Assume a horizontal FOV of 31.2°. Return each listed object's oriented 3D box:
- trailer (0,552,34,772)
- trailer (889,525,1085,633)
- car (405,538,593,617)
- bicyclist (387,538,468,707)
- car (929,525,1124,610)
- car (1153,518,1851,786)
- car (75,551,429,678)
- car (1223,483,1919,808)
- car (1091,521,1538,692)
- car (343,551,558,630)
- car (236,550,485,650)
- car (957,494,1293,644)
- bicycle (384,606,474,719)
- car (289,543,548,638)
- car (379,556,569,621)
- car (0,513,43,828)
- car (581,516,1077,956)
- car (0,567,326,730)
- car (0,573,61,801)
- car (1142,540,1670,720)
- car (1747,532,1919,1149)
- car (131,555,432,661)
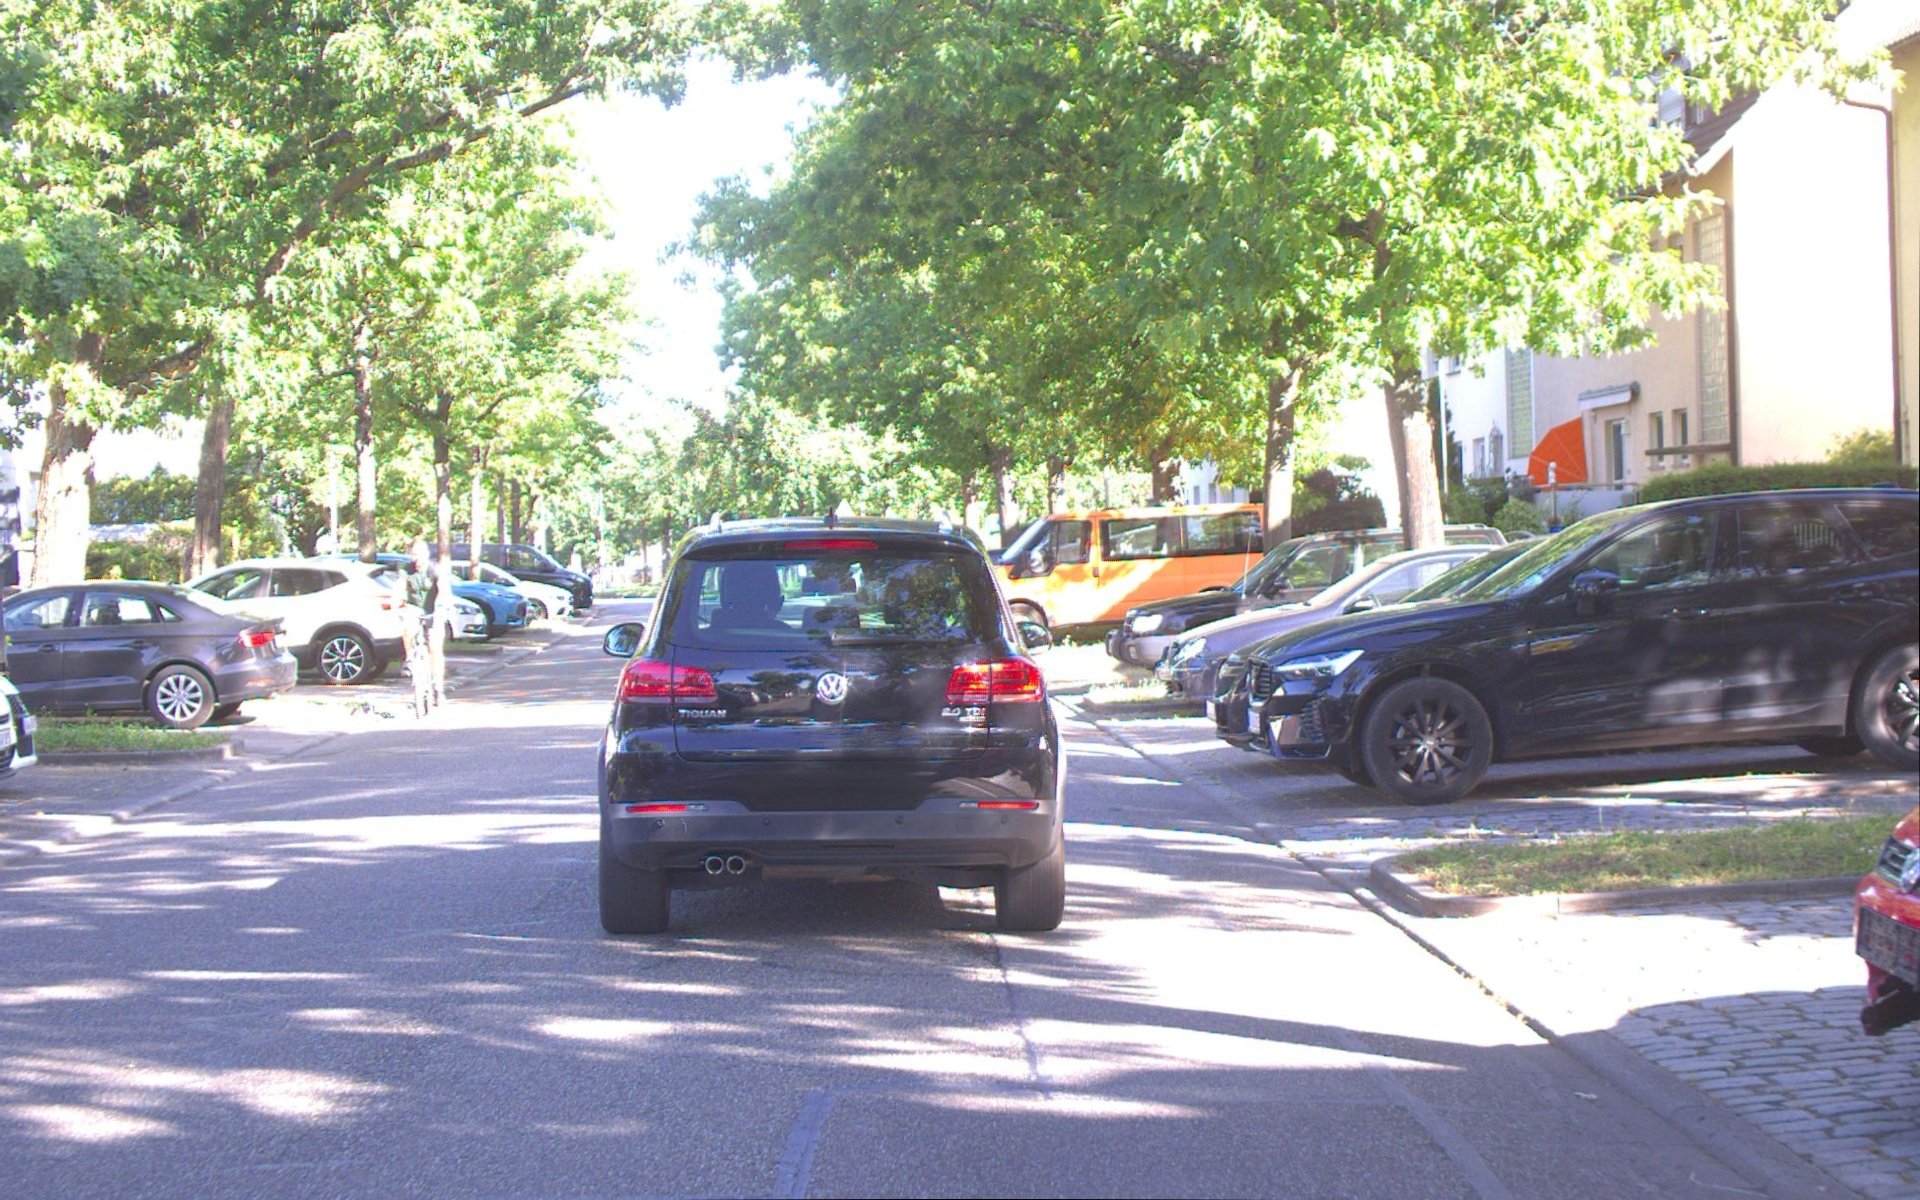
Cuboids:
[{"bbox_3d":[-8.446,0.492,26.364,2.236,1.668,1.474,-1,1,2],"label":"trailer"},{"bbox_3d":[0.431,-0.354,56.399,2.945,1.658,1.615,-2,1,-9],"label":"trailer"},{"bbox_3d":[-12.143,-0.594,90.822,4.778,1.910,2.019,-2,1,-6],"label":"car"},{"bbox_3d":[-5.452,0.220,35.260,0.596,1.668,0.975,-4,1,-1],"label":"bicyclist"},{"bbox_3d":[1.356,-0.688,70.882,3.882,1.510,1.662,-1,6,-3],"label":"car"},{"bbox_3d":[3.586,0.318,23.271,4.319,1.524,1.841,-3,1,-3],"label":"car"},{"bbox_3d":[-9.028,0.165,44.084,4.187,1.561,1.792,0,1,-1],"label":"car"},{"bbox_3d":[3.978,0.221,20.336,4.573,1.641,1.838,-3,1,-2],"label":"car"},{"bbox_3d":[3.651,0.055,35.893,4.337,1.555,1.868,-2,1,-3],"label":"car"},{"bbox_3d":[-10.396,-0.196,70.302,4.182,1.487,1.647,-1,0,-3],"label":"car"},{"bbox_3d":[-10.302,0.002,59.297,3.986,1.590,1.857,-1,0,-3],"label":"car"},{"bbox_3d":[2.448,-0.482,51.872,4.818,2.076,2.086,-2,1,-3],"label":"car"},{"bbox_3d":[-5.421,0.625,35.196,0.596,1.055,1.986,-4,1,-1],"label":"bicycle"},{"bbox_3d":[-10.012,-0.165,63.800,4.523,1.625,1.937,-1,0,-3],"label":"car"},{"bbox_3d":[-11.298,-0.277,80.139,4.275,1.473,1.769,0,1,-4],"label":"car"},{"bbox_3d":[-8.043,0.483,21.302,4.235,1.937,2.000,-1,0,-5],"label":"car"},{"bbox_3d":[-0.530,0.489,14.782,1.838,1.631,3.958,0,0,-1],"label":"car"},{"bbox_3d":[-8.472,0.473,33.713,4.210,1.466,1.691,-2,1,-3],"label":"car"},{"bbox_3d":[-8.400,0.621,23.649,3.986,1.511,1.691,-1,1,-3],"label":"car"},{"bbox_3d":[3.913,0.247,30.667,4.427,1.327,1.691,-3,1,0],"label":"car"},{"bbox_3d":[4.157,0.503,8.859,3.777,1.479,1.755,-3,0,-1],"label":"car"},{"bbox_3d":[-9.712,0.105,49.453,4.033,1.418,1.810,1,1,-4],"label":"car"}]
